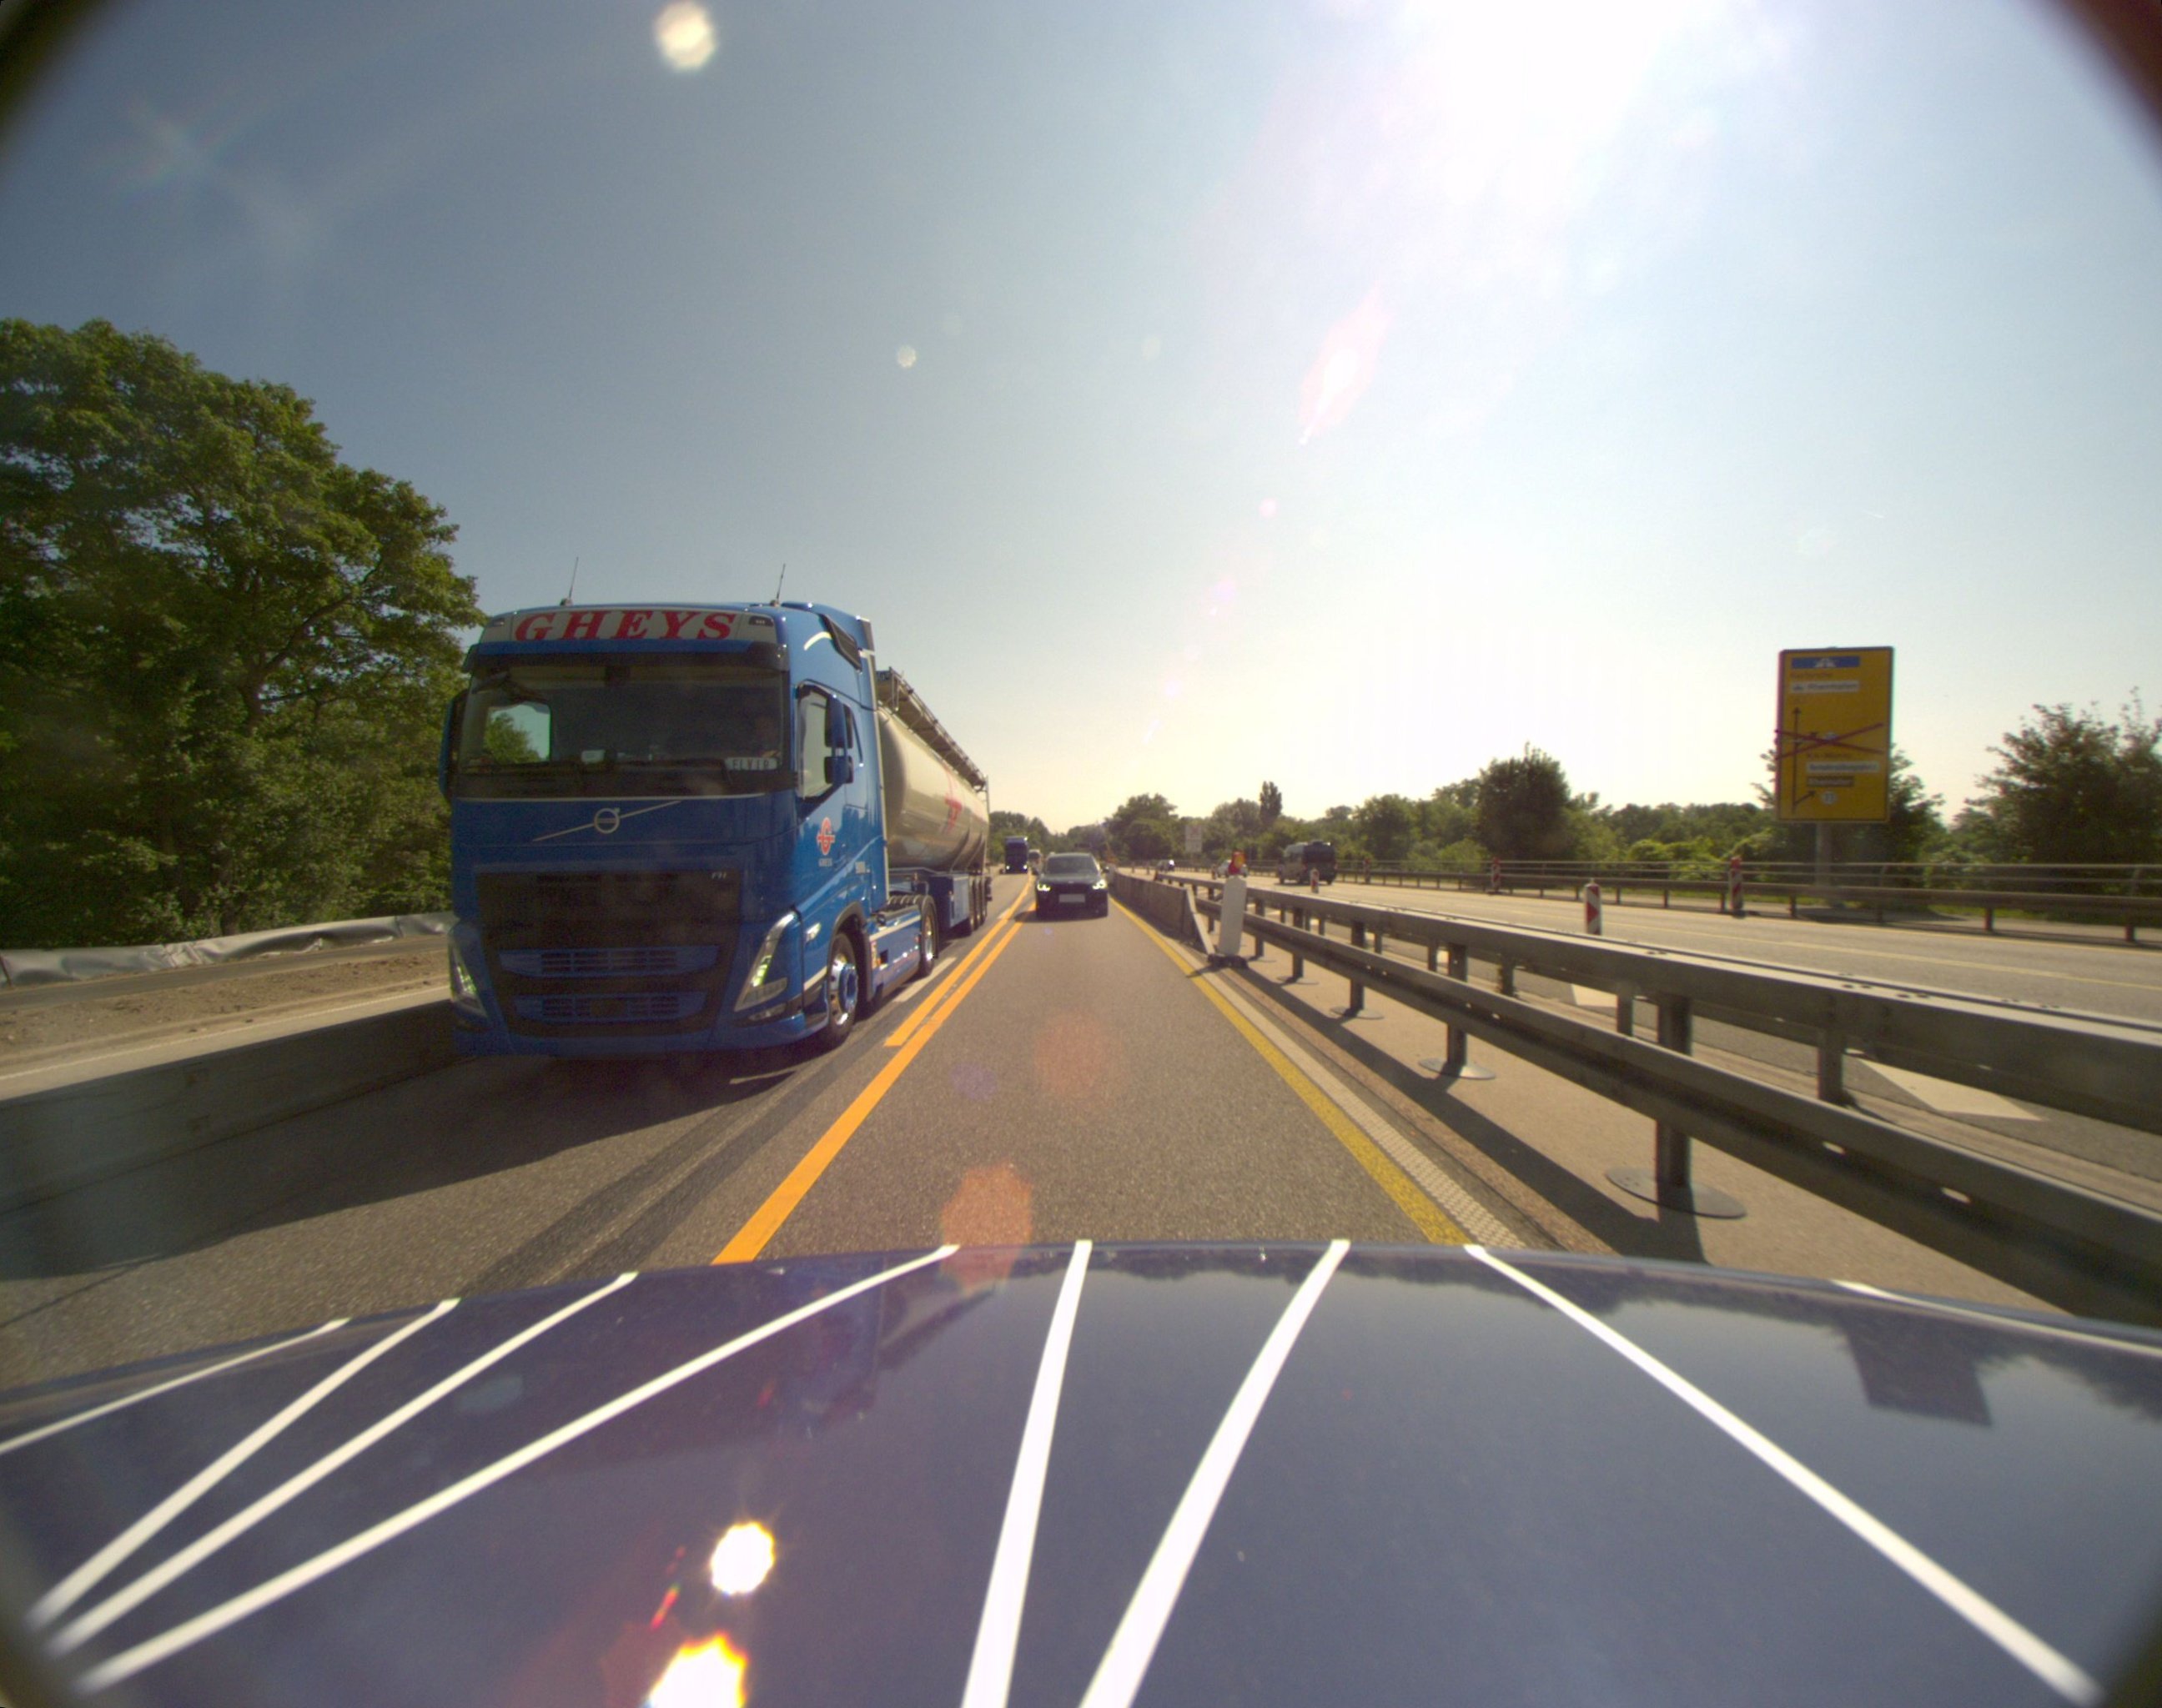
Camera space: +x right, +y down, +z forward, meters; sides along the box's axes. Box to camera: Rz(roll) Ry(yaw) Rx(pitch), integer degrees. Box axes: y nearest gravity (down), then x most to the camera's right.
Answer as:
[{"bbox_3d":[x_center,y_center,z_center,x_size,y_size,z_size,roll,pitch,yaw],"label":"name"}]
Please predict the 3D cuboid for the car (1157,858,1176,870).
[{"bbox_3d":[10.678,1.243,94.980,1.742,1.467,4.644,0,0,-3],"label":"car"}]

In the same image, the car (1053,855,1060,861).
[{"bbox_3d":[-8.043,1.299,249.763,1.998,2.002,4.000,1,0,1],"label":"car"}]

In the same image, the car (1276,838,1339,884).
[{"bbox_3d":[13.914,0.410,47.060,2.151,2.645,5.545,0,0,-1],"label":"car"}]

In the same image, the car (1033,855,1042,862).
[{"bbox_3d":[-9.966,1.049,174.173,1.747,1.621,4.092,1,0,-1],"label":"car"}]

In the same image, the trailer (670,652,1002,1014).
[{"bbox_3d":[-3.457,-0.205,15.013,2.701,4.113,12.612,1,0,-1],"label":"trailer"}]

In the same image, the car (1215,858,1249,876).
[{"bbox_3d":[12.699,1.086,64.165,1.724,1.389,4.518,-1,0,-3],"label":"car"}]

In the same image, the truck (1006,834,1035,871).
[{"bbox_3d":[-6.862,-0.166,85.251,2.862,3.961,8.660,1,0,-7],"label":"truck"}]

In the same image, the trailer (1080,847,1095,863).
[{"bbox_3d":[1.844,0.346,211.266,2.769,4.112,14.525,1,0,-5],"label":"trailer"}]

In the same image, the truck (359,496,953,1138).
[{"bbox_3d":[-3.325,-0.198,8.523,2.701,4.078,7.299,1,0,-2],"label":"truck"}]

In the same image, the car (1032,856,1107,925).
[{"bbox_3d":[-0.283,0.905,21.078,1.789,1.651,4.487,-2,0,0],"label":"car"}]

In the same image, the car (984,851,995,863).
[{"bbox_3d":[-21.279,0.617,175.987,2.111,2.626,5.979,1,0,-10],"label":"car"}]
